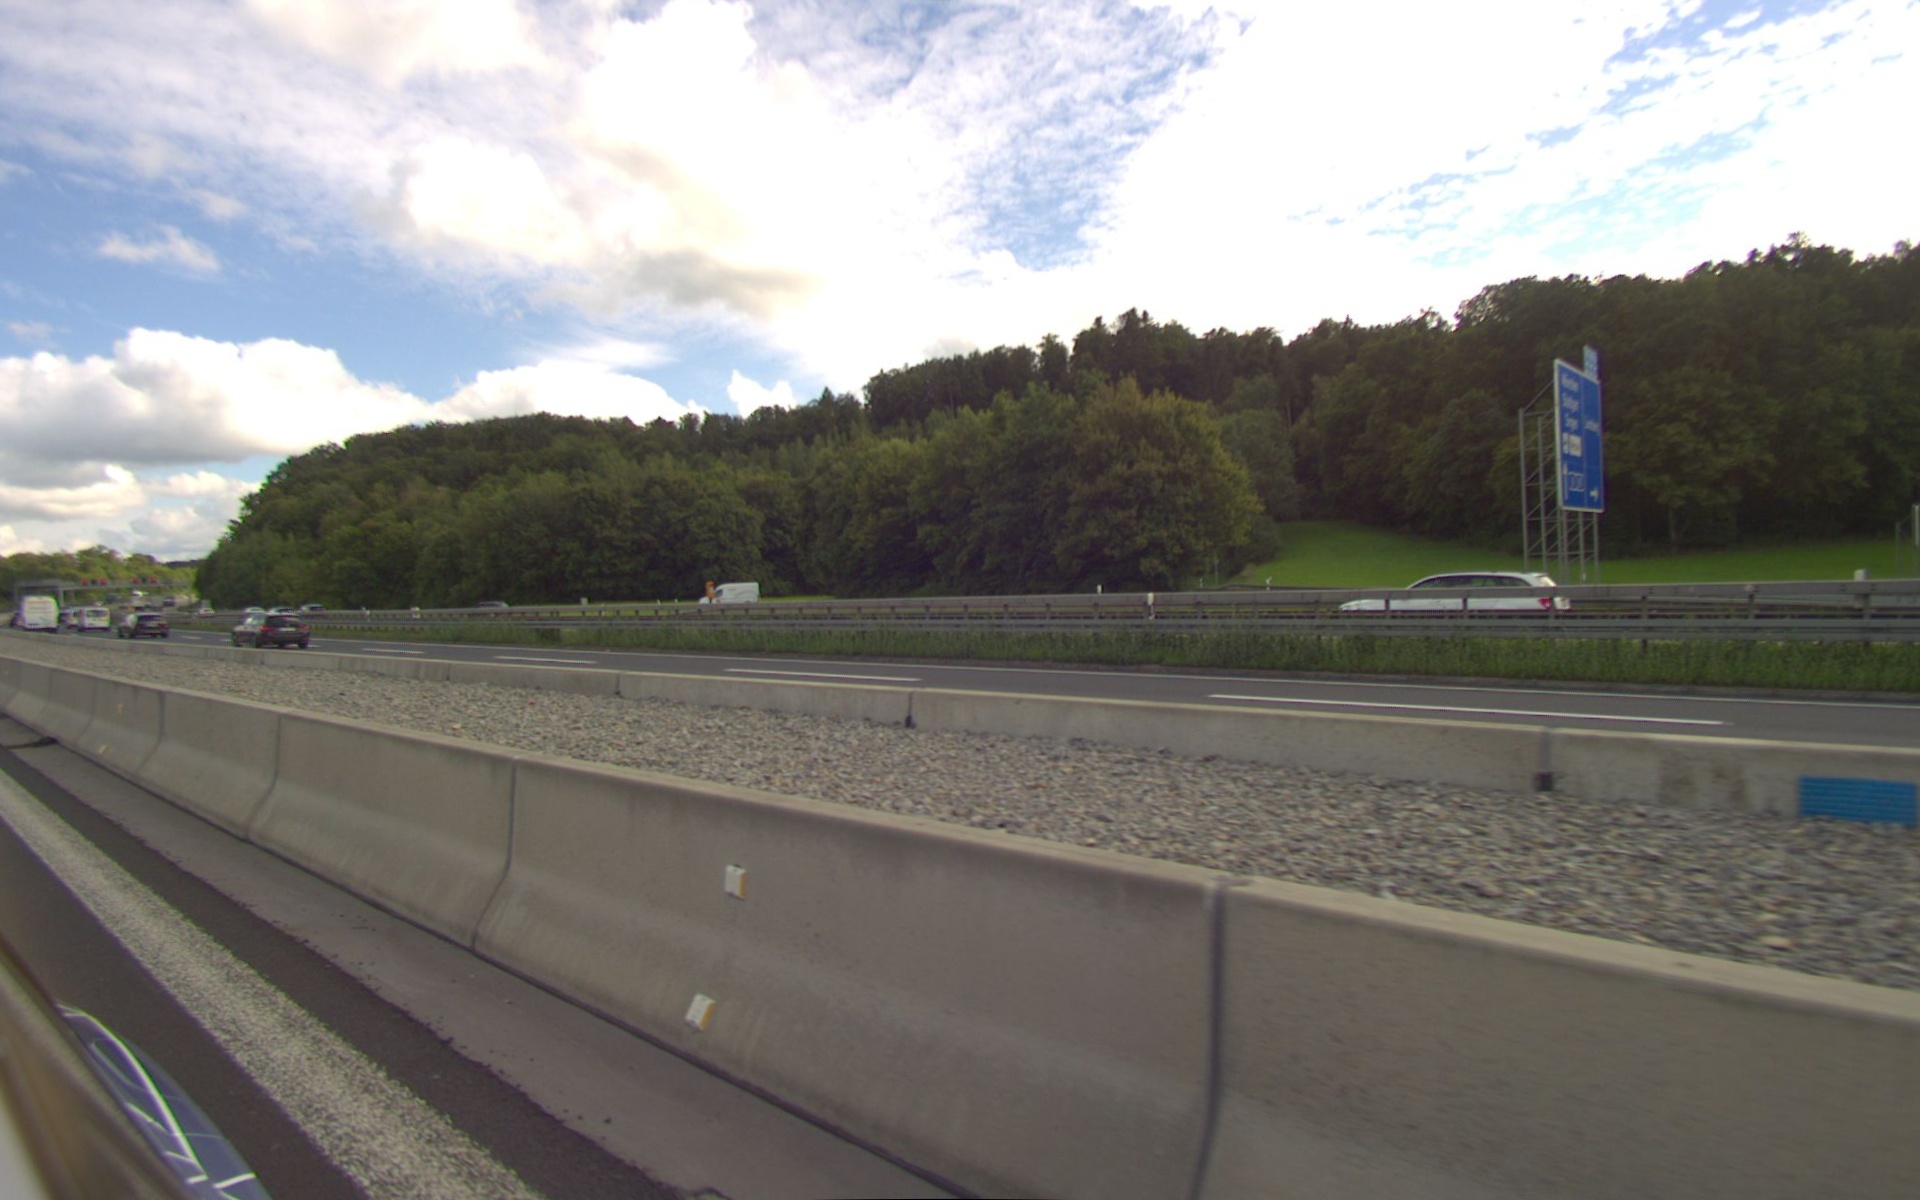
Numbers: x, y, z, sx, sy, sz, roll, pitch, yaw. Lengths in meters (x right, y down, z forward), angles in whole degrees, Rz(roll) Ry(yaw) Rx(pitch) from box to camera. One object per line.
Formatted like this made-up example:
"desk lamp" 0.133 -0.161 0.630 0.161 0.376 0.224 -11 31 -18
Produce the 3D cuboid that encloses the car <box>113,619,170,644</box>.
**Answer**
"car" -50.005 1.880 61.783 5.233 1.432 1.864 -1 -1 41

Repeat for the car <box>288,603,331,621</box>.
"car" -66.962 1.267 104.113 5.241 1.784 2.369 -1 0 41

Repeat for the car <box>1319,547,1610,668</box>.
"car" 10.512 0.173 21.356 5.145 2.250 1.972 -1 0 42

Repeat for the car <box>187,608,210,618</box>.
"car" -111.139 1.891 147.657 4.623 1.442 1.764 -1 0 42

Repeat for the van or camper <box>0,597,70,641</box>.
"van or camper" -66.665 1.340 72.755 7.466 2.938 3.299 -1 0 43

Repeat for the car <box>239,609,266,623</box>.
"car" -87.970 1.946 125.805 1.913 1.684 5.227 -1 0 -45

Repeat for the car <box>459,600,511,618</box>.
"car" -42.183 0.779 89.857 4.276 1.461 1.718 -1 0 23

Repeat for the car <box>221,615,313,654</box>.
"car" -27.941 1.353 40.745 4.992 1.428 1.767 -1 0 40

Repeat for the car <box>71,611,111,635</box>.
"car" -71.733 1.911 83.507 5.286 1.920 1.893 -1 -1 43

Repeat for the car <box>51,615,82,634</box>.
"car" -88.732 2.442 100.495 4.242 1.828 1.971 -1 0 44

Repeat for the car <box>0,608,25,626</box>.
"car" -103.199 1.848 110.054 1.971 1.934 5.152 -2 0 -45

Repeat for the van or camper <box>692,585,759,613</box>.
"van or camper" -20.884 -0.097 89.951 5.636 2.265 2.112 -2 0 -15

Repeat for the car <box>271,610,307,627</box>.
"car" -55.551 1.533 83.781 3.756 1.330 1.620 -1 1 42
